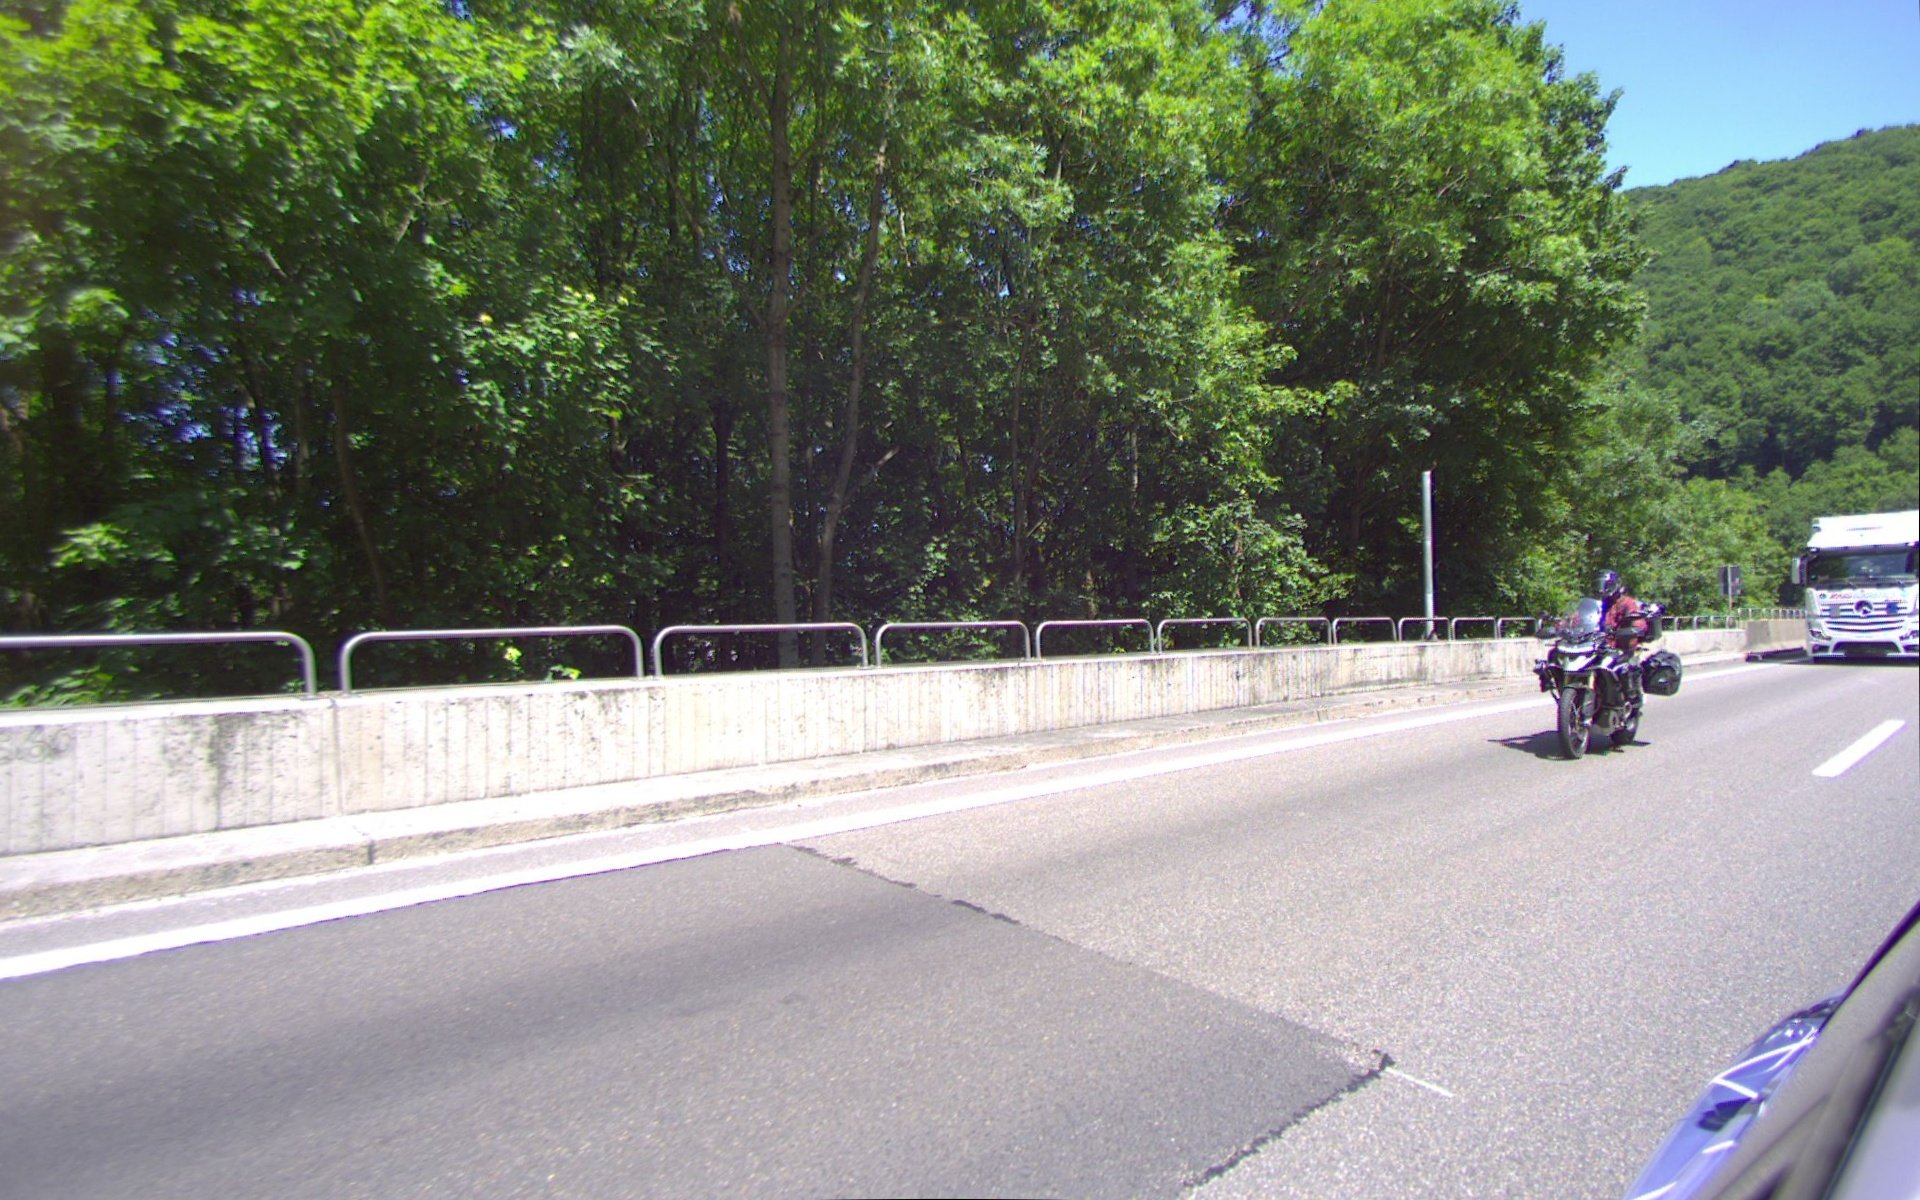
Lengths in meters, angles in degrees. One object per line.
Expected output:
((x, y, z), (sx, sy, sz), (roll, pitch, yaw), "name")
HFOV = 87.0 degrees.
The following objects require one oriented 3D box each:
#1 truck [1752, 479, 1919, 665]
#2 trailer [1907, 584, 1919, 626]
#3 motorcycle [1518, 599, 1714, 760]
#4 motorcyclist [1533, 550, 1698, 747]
((26.828, -0.611, 29.225), (16.415, 4.186, 2.965), (0, -3, -41), "truck")
((67.458, 0.362, 69.779), (9.344, 2.744, 2.524), (0, 1, -43), "trailer")
((6.729, 0.711, 10.310), (2.634, 1.437, 0.974), (0, 0, -41), "motorcycle")
((6.639, 0.450, 10.246), (1.314, 1.823, 1.062), (0, -1, -40), "motorcyclist")
